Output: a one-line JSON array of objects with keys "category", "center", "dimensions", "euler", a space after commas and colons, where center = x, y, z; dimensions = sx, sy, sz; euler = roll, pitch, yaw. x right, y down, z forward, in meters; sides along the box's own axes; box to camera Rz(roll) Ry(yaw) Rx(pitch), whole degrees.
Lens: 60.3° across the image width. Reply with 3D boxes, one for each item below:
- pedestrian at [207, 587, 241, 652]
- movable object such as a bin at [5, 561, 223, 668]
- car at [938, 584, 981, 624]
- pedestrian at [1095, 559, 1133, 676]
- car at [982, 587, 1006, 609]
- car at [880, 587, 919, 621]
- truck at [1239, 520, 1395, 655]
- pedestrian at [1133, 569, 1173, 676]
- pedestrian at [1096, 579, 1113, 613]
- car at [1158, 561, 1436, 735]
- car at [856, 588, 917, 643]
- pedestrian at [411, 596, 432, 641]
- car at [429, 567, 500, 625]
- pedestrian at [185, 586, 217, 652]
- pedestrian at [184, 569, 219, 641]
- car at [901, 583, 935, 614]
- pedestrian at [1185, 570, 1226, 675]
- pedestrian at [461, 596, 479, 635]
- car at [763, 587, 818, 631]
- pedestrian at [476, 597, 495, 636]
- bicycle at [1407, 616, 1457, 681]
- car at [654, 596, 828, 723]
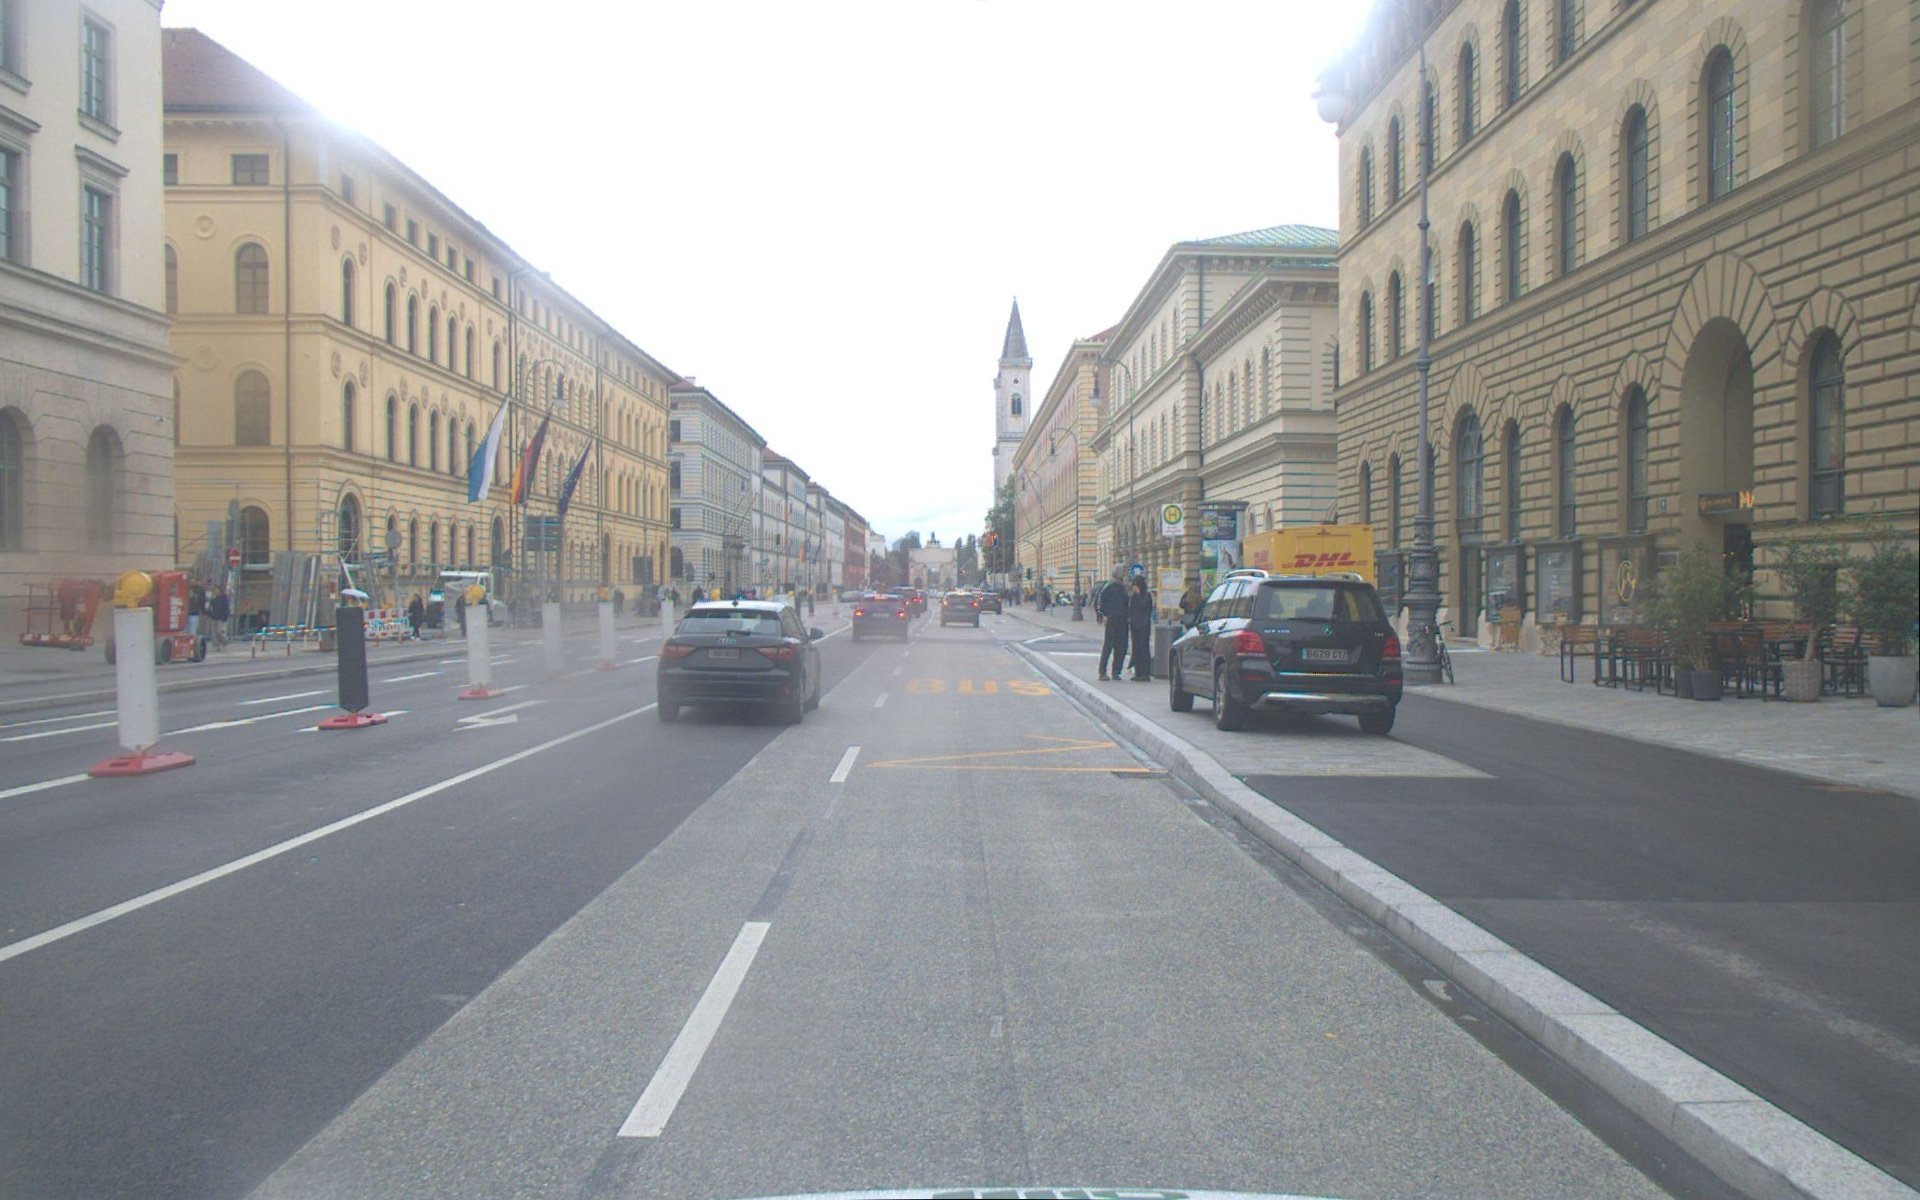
[{"category": "pedestrian", "center": [-19.044, 0.506, 42.801], "dimensions": [0.600, 1.681, 0.617], "euler": [0, -1, -4]}, {"category": "movable object such as a bin", "center": [-17.524, 0.312, 34.652], "dimensions": [1.480, 2.049, 5.975], "euler": [0, -1, 0]}, {"category": "car", "center": [-0.036, 0.191, 77.422], "dimensions": [1.953, 1.803, 4.000], "euler": [-1, 0, 0]}, {"category": "pedestrian", "center": [2.533, 0.294, 27.222], "dimensions": [0.602, 1.908, 0.541], "euler": [0, -1, 4]}, {"category": "car", "center": [2.652, -0.131, 128.976], "dimensions": [1.821, 1.606, 3.999], "euler": [0, -1, 0]}, {"category": "car", "center": [-3.274, 0.216, 89.937], "dimensions": [1.953, 1.803, 4.000], "euler": [-1, 0, 0]}, {"category": "truck", "center": [7.920, -0.224, 37.371], "dimensions": [2.567, 2.813, 5.809], "euler": [0, -1, 3]}, {"category": "pedestrian", "center": [3.162, 0.369, 27.157], "dimensions": [0.603, 1.732, 0.541], "euler": [0, -1, 2]}, {"category": "pedestrian", "center": [7.409, -0.190, 84.770], "dimensions": [0.781, 1.720, 0.800], "euler": [0, -1, 0]}, {"category": "car", "center": [3.576, 0.472, 18.404], "dimensions": [2.027, 1.691, 4.220], "euler": [1, 0, -3]}, {"category": "car", "center": [-2.257, 0.486, 51.807], "dimensions": [1.732, 1.645, 3.999], "euler": [0, -1, 0]}, {"category": "pedestrian", "center": [-18.660, 0.653, 57.312], "dimensions": [0.541, 1.557, 0.617], "euler": [0, -1, -4]}, {"category": "car", "center": [-20.465, -0.143, 68.424], "dimensions": [1.703, 2.329, 3.999], "euler": [0, -1, 0]}, {"category": "pedestrian", "center": [-19.616, 0.494, 42.751], "dimensions": [0.541, 1.705, 0.617], "euler": [0, -1, -4]}, {"category": "pedestrian", "center": [-20.824, 0.128, 45.429], "dimensions": [0.666, 1.965, 0.651], "euler": [0, -1, -4]}, {"category": "car", "center": [-2.537, -0.094, 101.433], "dimensions": [1.953, 1.803, 4.000], "euler": [-1, 0, 0]}, {"category": "pedestrian", "center": [4.099, 0.376, 27.645], "dimensions": [0.603, 1.732, 0.541], "euler": [0, -1, 2]}, {"category": "pedestrian", "center": [-18.310, 0.588, 61.795], "dimensions": [0.529, 1.431, 0.617], "euler": [0, -1, -4]}, {"category": "car", "center": [-6.477, 0.359, 63.540], "dimensions": [1.732, 1.645, 3.999], "euler": [0, -1, 0]}, {"category": "pedestrian", "center": [-17.726, 0.606, 61.784], "dimensions": [0.529, 1.435, 0.617], "euler": [0, -1, -4]}, {"category": "bicycle", "center": [7.701, 0.779, 27.051], "dimensions": [0.507, 1.040, 1.651], "euler": [0, -1, 6]}, {"category": "car", "center": [-2.633, 0.671, 20.721], "dimensions": [1.826, 1.412, 3.998], "euler": [1, 0, -3]}]
